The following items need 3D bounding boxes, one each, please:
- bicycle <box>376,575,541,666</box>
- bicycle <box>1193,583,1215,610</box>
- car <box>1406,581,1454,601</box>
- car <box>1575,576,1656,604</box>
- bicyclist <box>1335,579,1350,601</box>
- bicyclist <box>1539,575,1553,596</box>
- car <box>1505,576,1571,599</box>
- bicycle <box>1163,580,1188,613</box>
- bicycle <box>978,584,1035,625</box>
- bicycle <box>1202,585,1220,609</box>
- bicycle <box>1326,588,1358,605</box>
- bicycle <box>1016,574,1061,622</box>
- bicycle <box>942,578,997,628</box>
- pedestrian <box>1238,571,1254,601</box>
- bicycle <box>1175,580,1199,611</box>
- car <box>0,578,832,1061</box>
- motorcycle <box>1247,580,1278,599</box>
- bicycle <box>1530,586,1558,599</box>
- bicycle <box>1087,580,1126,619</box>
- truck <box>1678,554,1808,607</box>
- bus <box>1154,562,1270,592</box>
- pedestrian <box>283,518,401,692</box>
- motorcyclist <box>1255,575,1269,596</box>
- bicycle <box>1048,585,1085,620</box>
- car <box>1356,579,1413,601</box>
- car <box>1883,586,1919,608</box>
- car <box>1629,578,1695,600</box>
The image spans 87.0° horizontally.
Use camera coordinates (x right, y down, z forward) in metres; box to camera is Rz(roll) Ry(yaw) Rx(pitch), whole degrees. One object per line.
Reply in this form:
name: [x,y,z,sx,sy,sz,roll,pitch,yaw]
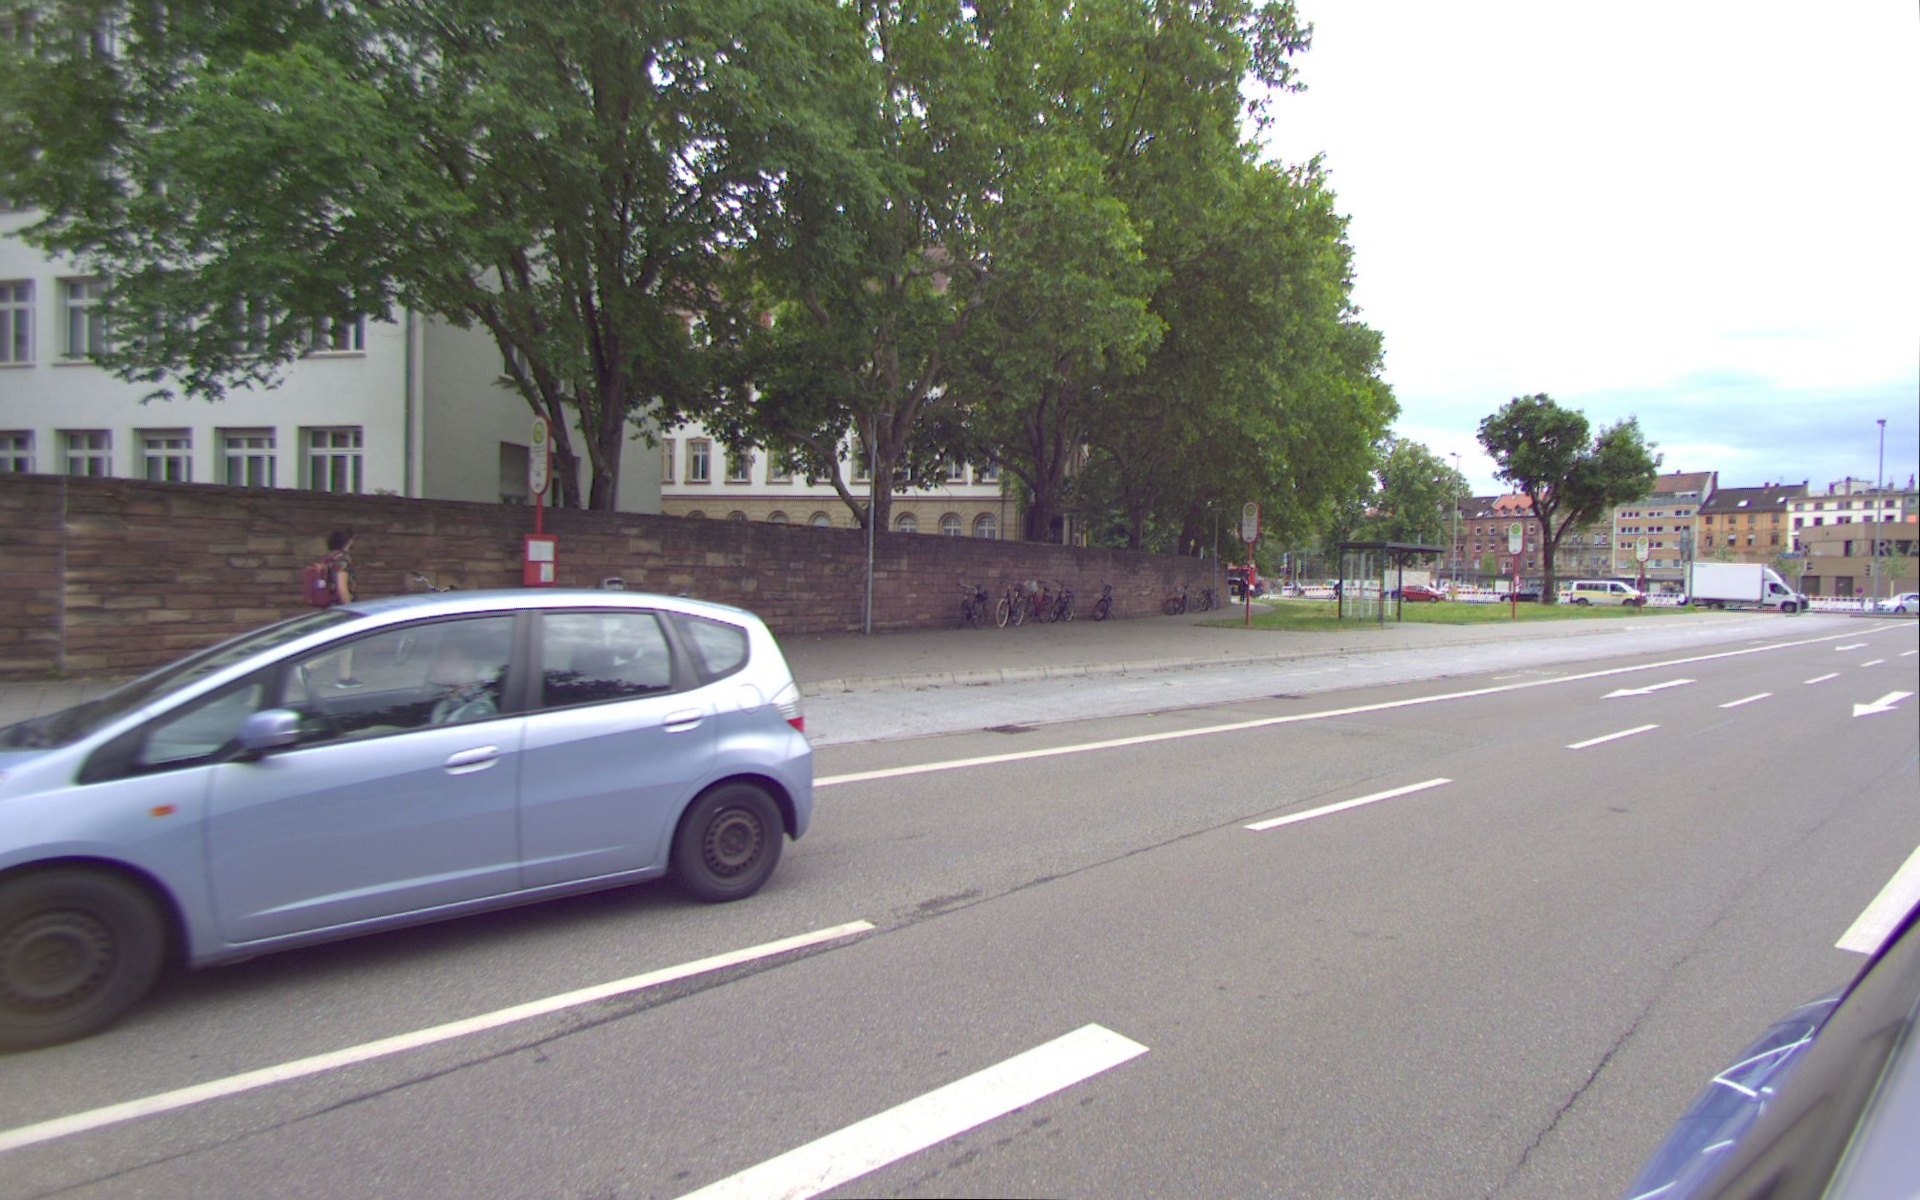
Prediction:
bicycle: [-6.962,0.246,14.136,0.845,1.141,1.900,4,3,34]
bicycle: [10.322,-0.170,42.782,0.589,1.072,1.700,3,2,23]
car: [39.289,-0.763,84.614,3.422,1.399,1.266,2,-6,44]
car: [48.397,-0.766,74.768,1.890,1.942,4.704,-4,4,-44]
bicyclist: [33.097,-0.861,87.630,0.893,1.883,0.753,4,3,43]
bicyclist: [43.961,-1.085,75.950,0.737,1.526,0.757,4,2,39]
car: [46.957,-1.042,82.313,1.659,1.657,4.284,1,3,-39]
bicycle: [8.128,-0.146,38.156,0.589,1.150,1.700,3,2,23]
bicycle: [1.204,0.093,25.753,0.650,0.963,1.751,3,2,31]
bicycle: [11.009,-0.156,44.352,0.544,1.004,1.626,3,2,20]
bicycle: [33.068,-0.313,87.646,2.384,1.340,0.753,4,3,44]
bicycle: [2.126,-0.070,27.307,0.496,1.236,1.609,3,2,31]
bicycle: [0.246,0.052,24.116,0.712,1.113,1.781,3,2,20]
pedestrian: [17.025,-0.859,60.304,0.745,1.756,0.821,3,2,10]
bicycle: [8.922,-0.180,39.685,0.589,1.143,1.700,3,2,23]
car: [-2.546,0.654,4.597,3.596,1.484,1.669,-1,1,-41]
motorcycle: [27.649,-0.981,92.631,2.501,1.621,0.917,4,3,37]
bicycle: [43.886,-0.576,75.999,1.687,0.926,0.757,4,3,39]
bicycle: [4.438,-0.038,30.602,0.593,1.118,1.638,3,2,29]
truck: [53.497,-1.360,69.288,6.835,3.453,2.520,1,3,45]
bus: [26.202,-2.444,105.949,2.889,2.944,12.067,0,1,-44]
pedestrian: [-6.900,0.036,11.301,1.014,1.844,0.632,1,2,-41]
motorcyclist: [27.654,-1.361,92.608,0.912,1.851,0.917,4,2,37]
bicycle: [3.040,0.049,28.828,0.414,0.954,1.508,3,2,31]
car: [38.662,-0.923,92.286,4.413,1.767,1.739,4,3,41]
car: [64.864,-0.176,68.324,3.375,1.407,1.516,3,2,8]
car: [53.133,-0.836,76.634,4.012,1.493,1.796,4,3,38]
